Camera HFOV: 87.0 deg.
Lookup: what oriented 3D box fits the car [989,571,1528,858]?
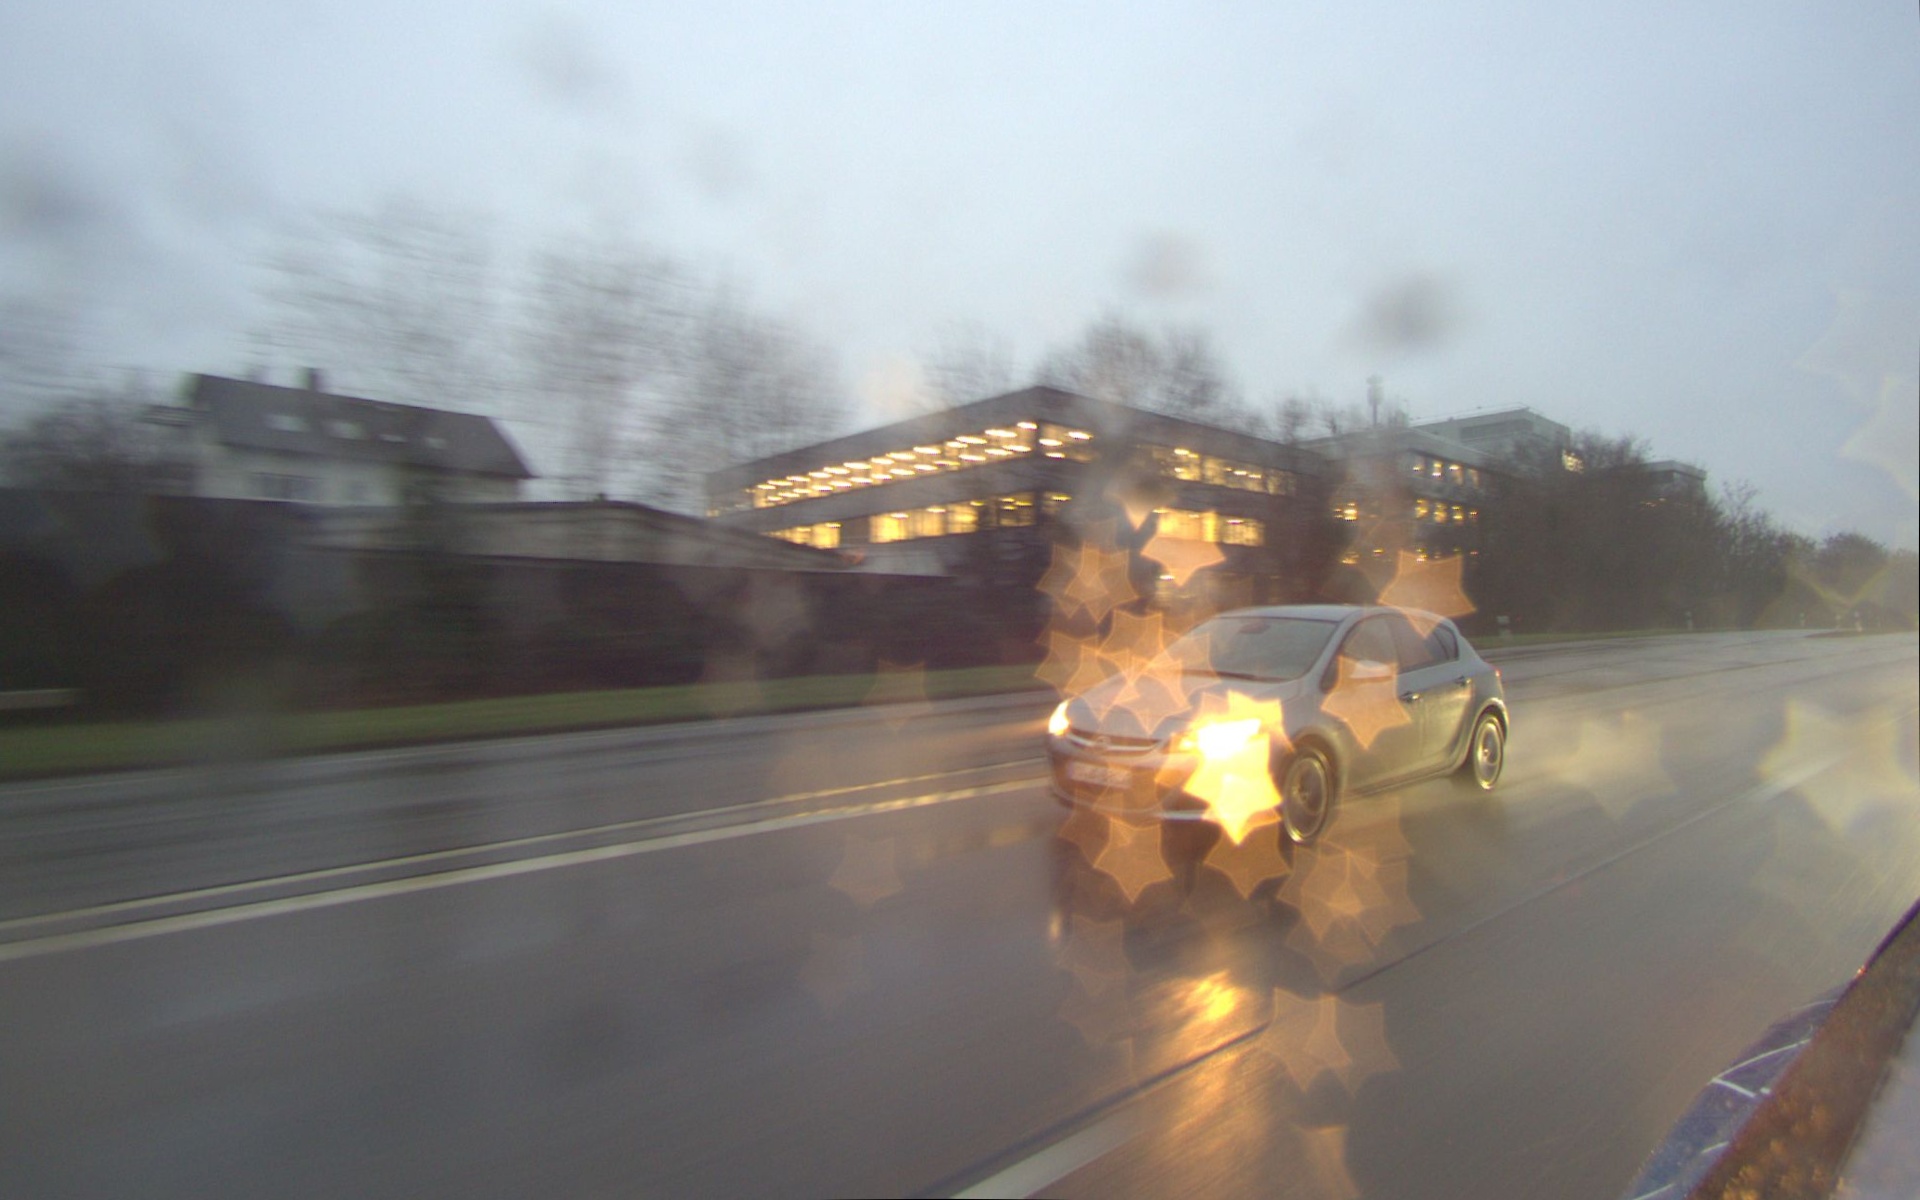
[{"bbox_3d":[2.379,0.604,7.461,4.188,1.521,1.852,-1,-1,-41],"label":"car"}]
